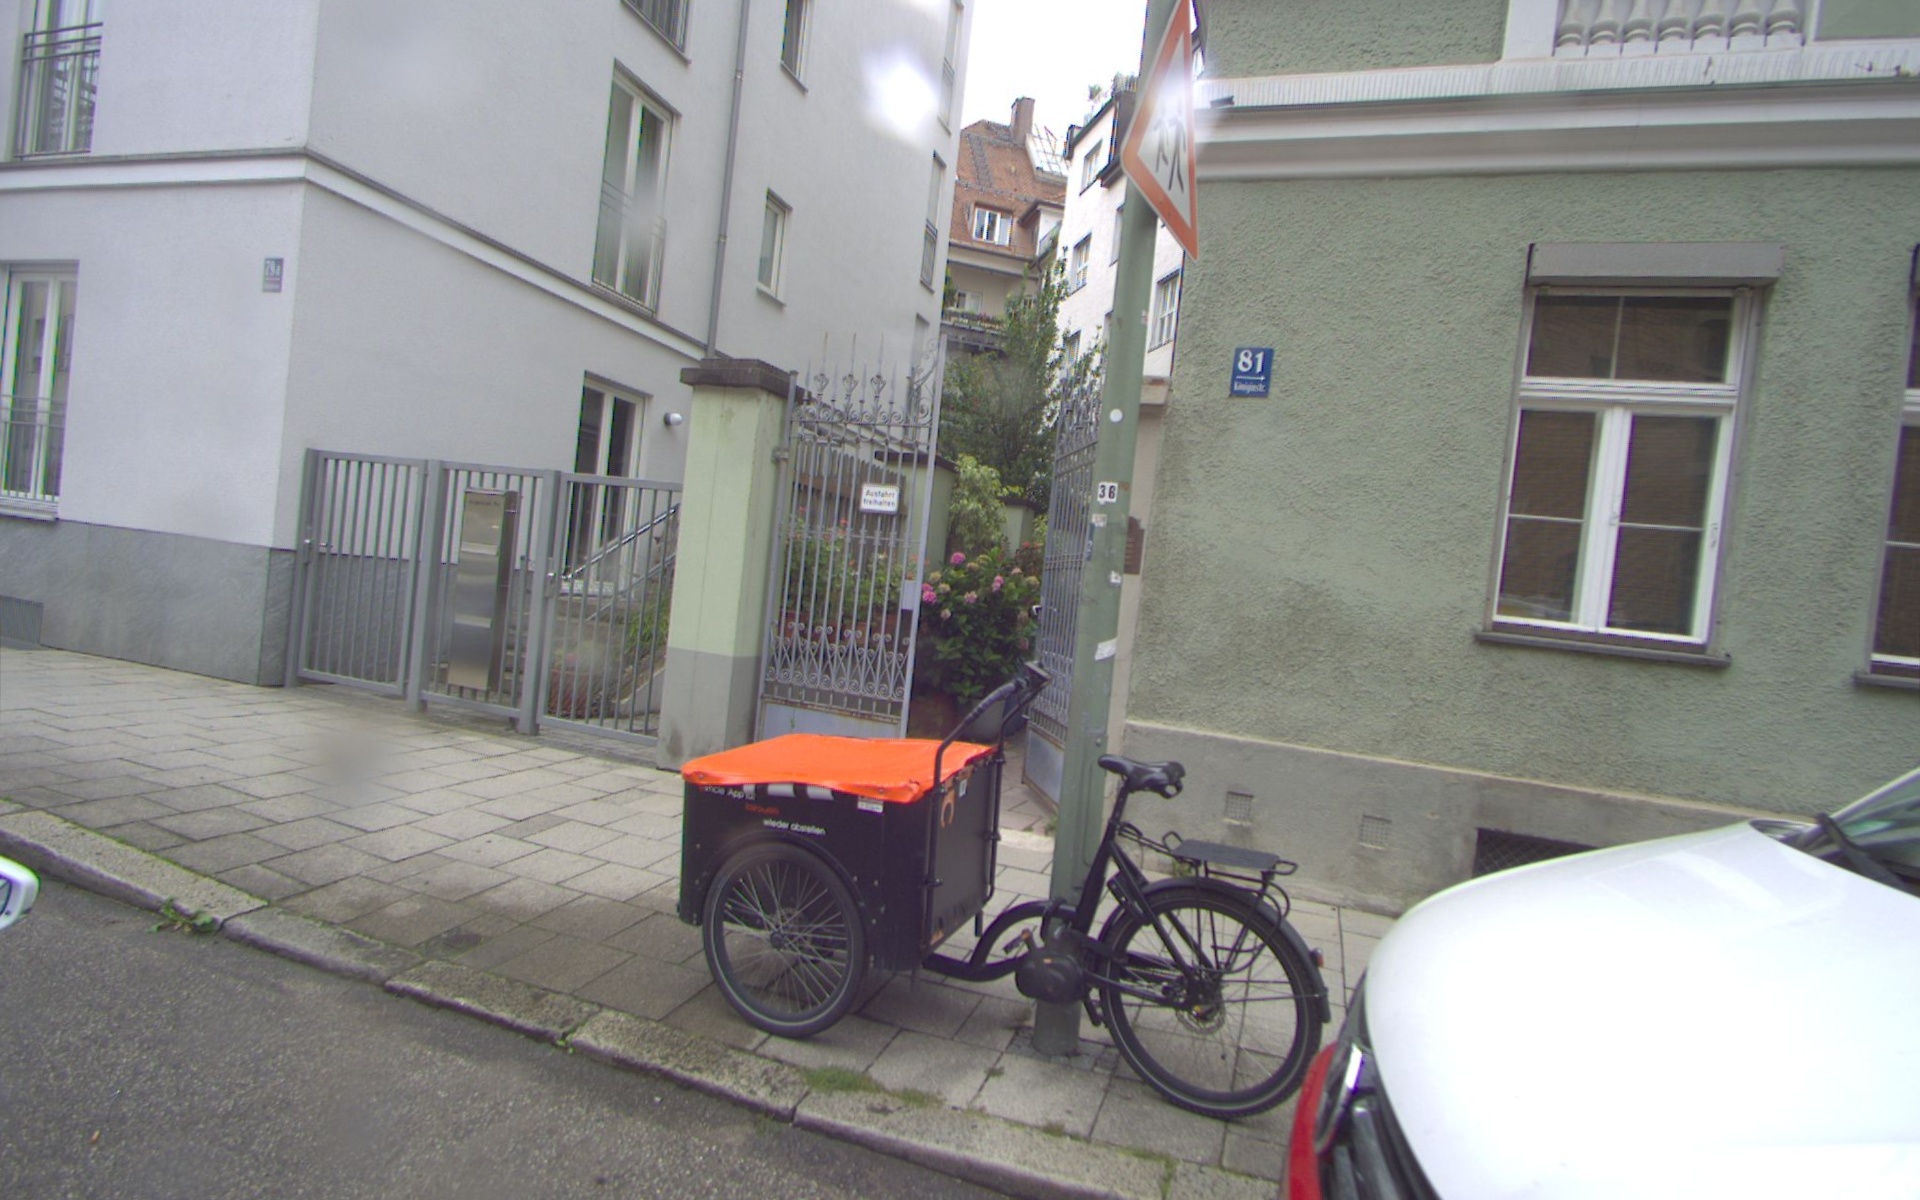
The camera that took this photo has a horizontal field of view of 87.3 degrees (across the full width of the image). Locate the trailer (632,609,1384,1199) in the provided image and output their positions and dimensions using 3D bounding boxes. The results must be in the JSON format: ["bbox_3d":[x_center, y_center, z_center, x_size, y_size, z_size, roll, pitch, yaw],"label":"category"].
[{"bbox_3d":[0.137,0.756,3.232,2.125,1.201,0.943,7,4,24],"label":"trailer"}]

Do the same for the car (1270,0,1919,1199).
[{"bbox_3d":[2.613,0.794,0.687,4.506,1.919,1.861,7,-1,20],"label":"car"}]
